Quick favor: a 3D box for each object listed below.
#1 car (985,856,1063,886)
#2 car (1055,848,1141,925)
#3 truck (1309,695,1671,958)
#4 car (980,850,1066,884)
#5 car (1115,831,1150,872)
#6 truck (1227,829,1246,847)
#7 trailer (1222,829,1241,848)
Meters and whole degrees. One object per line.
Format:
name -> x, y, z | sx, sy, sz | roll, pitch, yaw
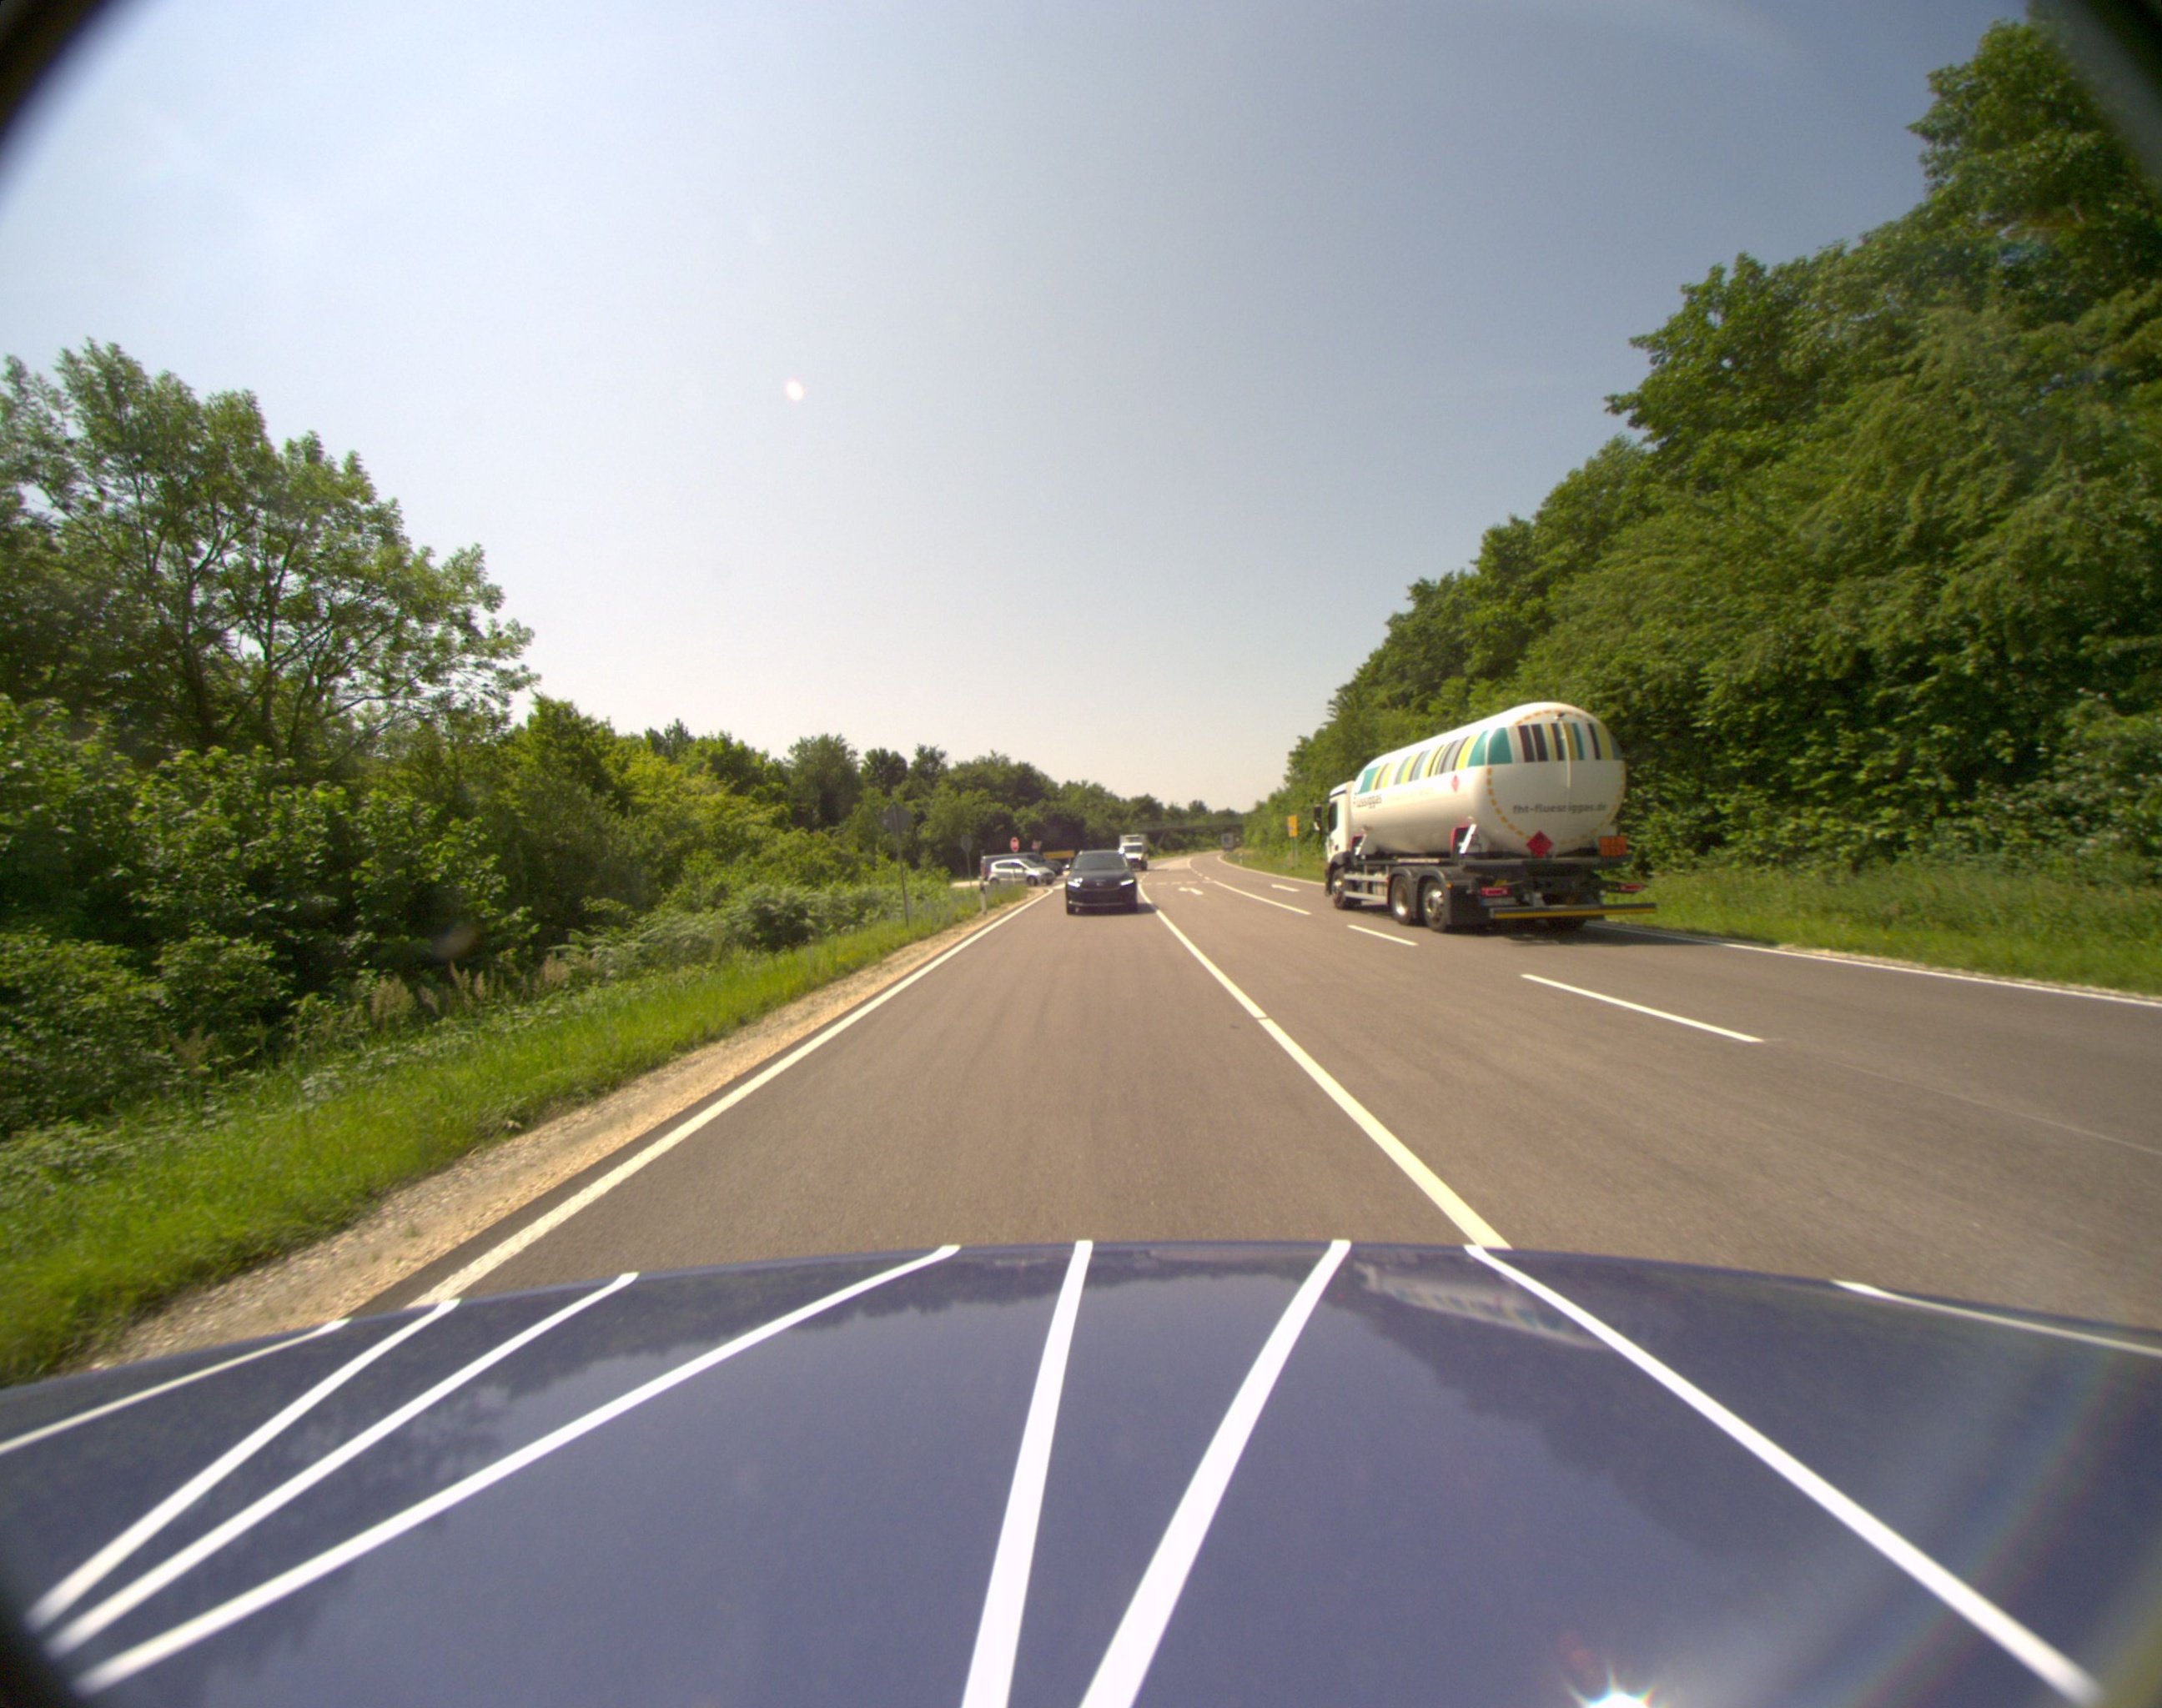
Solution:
car -> -3.231, 0.947, 42.842 | 3.983, 1.570, 1.849 | -2, -1, 31
car -> 0.554, 0.743, 20.311 | 1.924, 1.711, 5.479 | -2, 0, 3
truck -> 7.161, -0.418, 15.249 | 2.633, 3.649, 8.796 | -2, 0, 1
car -> -3.799, 0.788, 49.125 | 5.232, 1.896, 2.011 | -2, 1, -13
car -> 4.325, -0.260, 62.720 | 2.591, 3.047, 6.883 | -2, 1, 6
truck -> 36.880, -3.820, 180.171 | 2.801, 4.072, 11.076 | -2, 1, 19
trailer -> 33.954, -3.606, 171.608 | 2.831, 4.072, 9.012 | -2, 1, 19
